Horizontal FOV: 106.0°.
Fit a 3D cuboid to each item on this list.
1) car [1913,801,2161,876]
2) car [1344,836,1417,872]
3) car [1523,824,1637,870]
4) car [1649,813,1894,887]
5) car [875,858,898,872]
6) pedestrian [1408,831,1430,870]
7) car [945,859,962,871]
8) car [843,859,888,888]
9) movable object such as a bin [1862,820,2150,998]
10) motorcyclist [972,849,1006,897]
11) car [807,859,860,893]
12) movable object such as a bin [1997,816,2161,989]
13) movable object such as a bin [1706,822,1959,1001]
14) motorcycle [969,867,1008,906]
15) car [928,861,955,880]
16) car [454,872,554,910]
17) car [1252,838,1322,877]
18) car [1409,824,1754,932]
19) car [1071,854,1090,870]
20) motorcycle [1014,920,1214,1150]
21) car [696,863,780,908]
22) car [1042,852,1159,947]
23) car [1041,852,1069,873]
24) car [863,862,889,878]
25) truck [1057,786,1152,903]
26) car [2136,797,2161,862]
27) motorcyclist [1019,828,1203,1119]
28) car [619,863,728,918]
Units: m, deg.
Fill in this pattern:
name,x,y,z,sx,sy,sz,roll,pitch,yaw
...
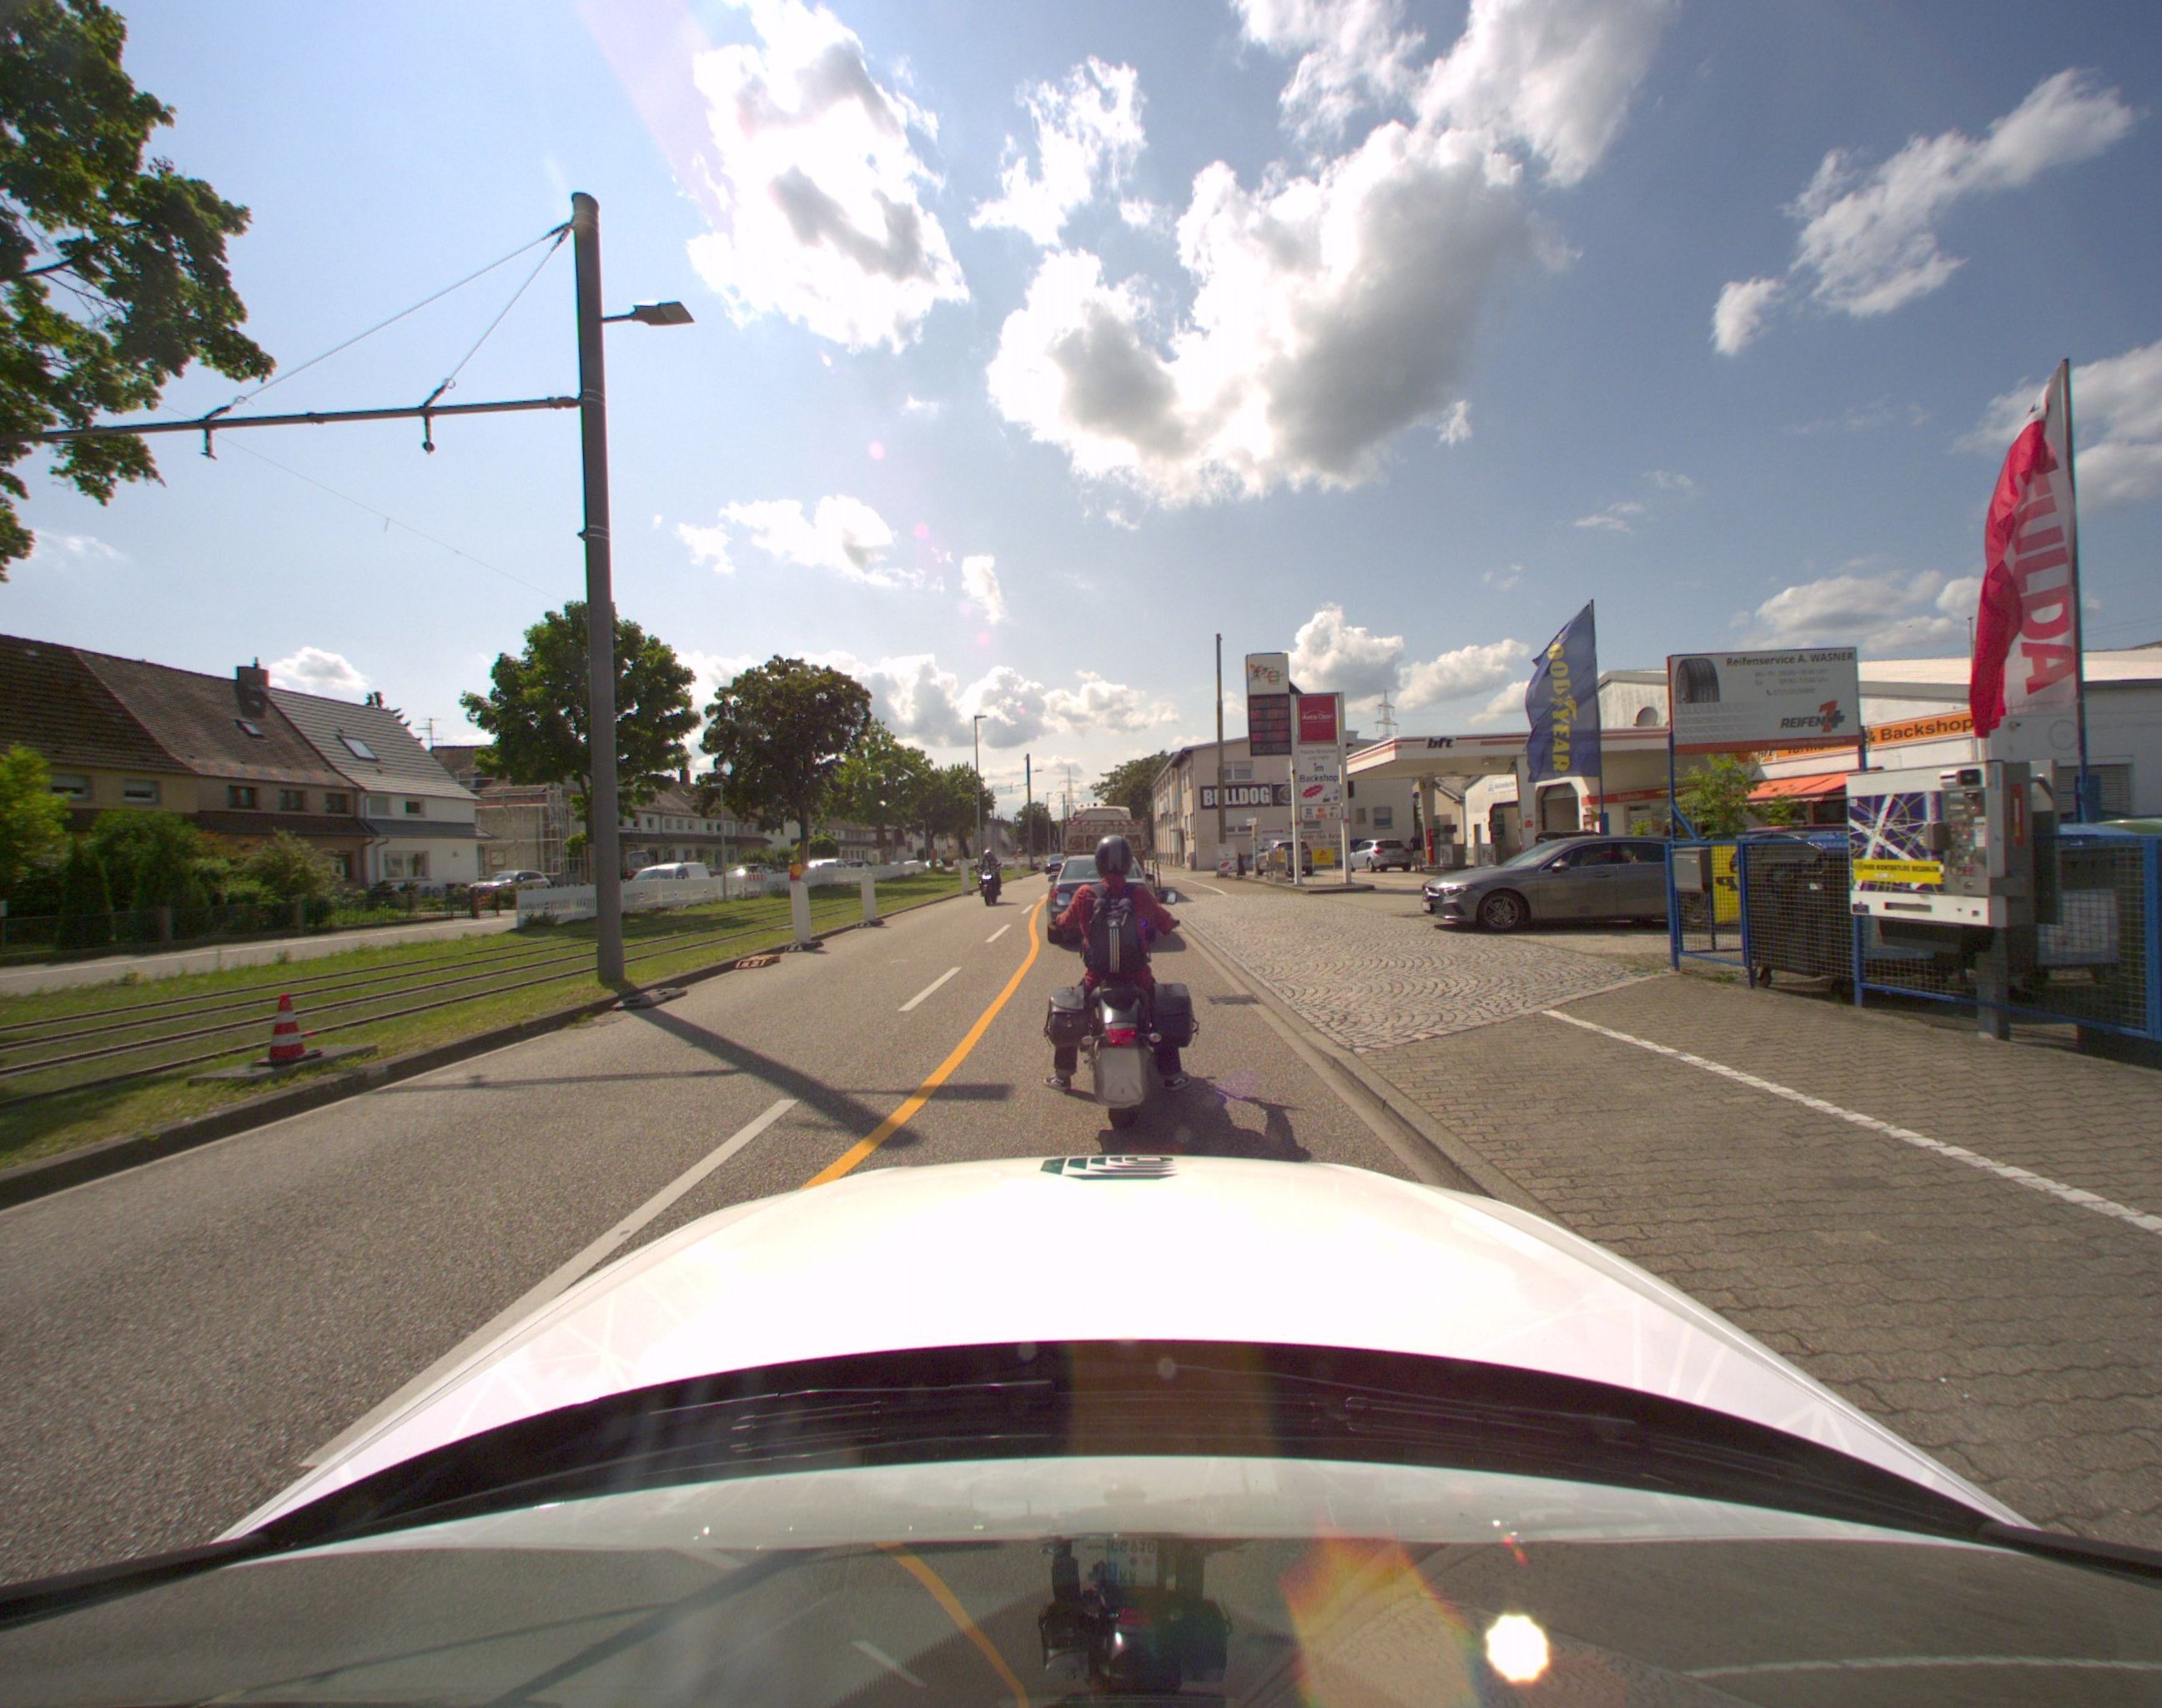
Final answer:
name,x,y,z,sx,sy,sz,roll,pitch,yaw
car,21.528,-0.343,18.168,4.180,1.463,1.587,-2,0,2
car,13.482,-0.011,36.922,1.800,1.503,3.832,-2,0,-1
car,18.125,-0.249,29.787,1.800,1.503,3.833,-2,0,0
car,15.780,-0.091,18.760,4.180,1.463,1.587,-2,0,2
car,-25.158,1.400,105.204,1.769,1.722,4.130,-2,0,2
pedestrian,14.657,-0.134,35.321,0.701,1.656,0.551,-2,0,37
car,-19.632,1.633,125.918,1.769,1.722,4.130,-2,0,2
car,-14.800,1.334,56.040,1.769,1.805,4.130,-2,0,2
movable object such as a bin,8.090,0.442,7.221,1.104,1.396,1.244,-2,0,1
motorcyclist,-2.737,0.547,24.309,0.866,1.378,0.800,-2,0,-1
car,-15.059,1.326,49.862,1.769,1.867,4.130,-2,0,2
movable object such as a bin,9.493,0.372,7.133,1.397,1.396,1.338,-2,0,1
movable object such as a bin,6.696,0.476,7.361,1.104,1.436,1.244,-2,0,1
motorcycle,-2.725,0.943,24.207,0.866,1.021,2.244,-2,0,-1
car,-13.725,1.630,80.456,1.769,1.722,4.130,-2,0,2
car,-27.432,1.724,38.895,1.769,1.519,4.002,-2,0,2
car,9.122,0.148,36.455,1.665,1.562,4.235,-2,0,-6
car,7.571,0.361,12.716,4.247,1.415,1.678,-2,0,9
car,-0.069,0.871,88.086,1.816,1.602,4.326,-3,0,2
motorcycle,0.211,1.022,5.447,0.975,0.897,2.654,-2,0,2
car,-15.403,1.380,36.800,1.769,1.774,4.230,-2,0,2
car,0.364,0.709,14.748,1.816,1.452,4.002,0,0,2
car,-1.978,0.595,62.478,1.816,1.452,4.326,-3,0,2
car,-24.386,1.837,97.043,1.769,1.722,4.130,-2,0,2
truck,0.809,-0.300,27.840,2.628,3.296,8.059,-2,0,2
car,26.532,-0.639,18.005,4.180,1.463,1.587,-2,0,2
motorcyclist,0.186,0.674,5.143,0.975,1.602,1.088,-2,0,1
car,-15.448,1.314,31.157,1.769,1.821,4.366,-2,0,2
